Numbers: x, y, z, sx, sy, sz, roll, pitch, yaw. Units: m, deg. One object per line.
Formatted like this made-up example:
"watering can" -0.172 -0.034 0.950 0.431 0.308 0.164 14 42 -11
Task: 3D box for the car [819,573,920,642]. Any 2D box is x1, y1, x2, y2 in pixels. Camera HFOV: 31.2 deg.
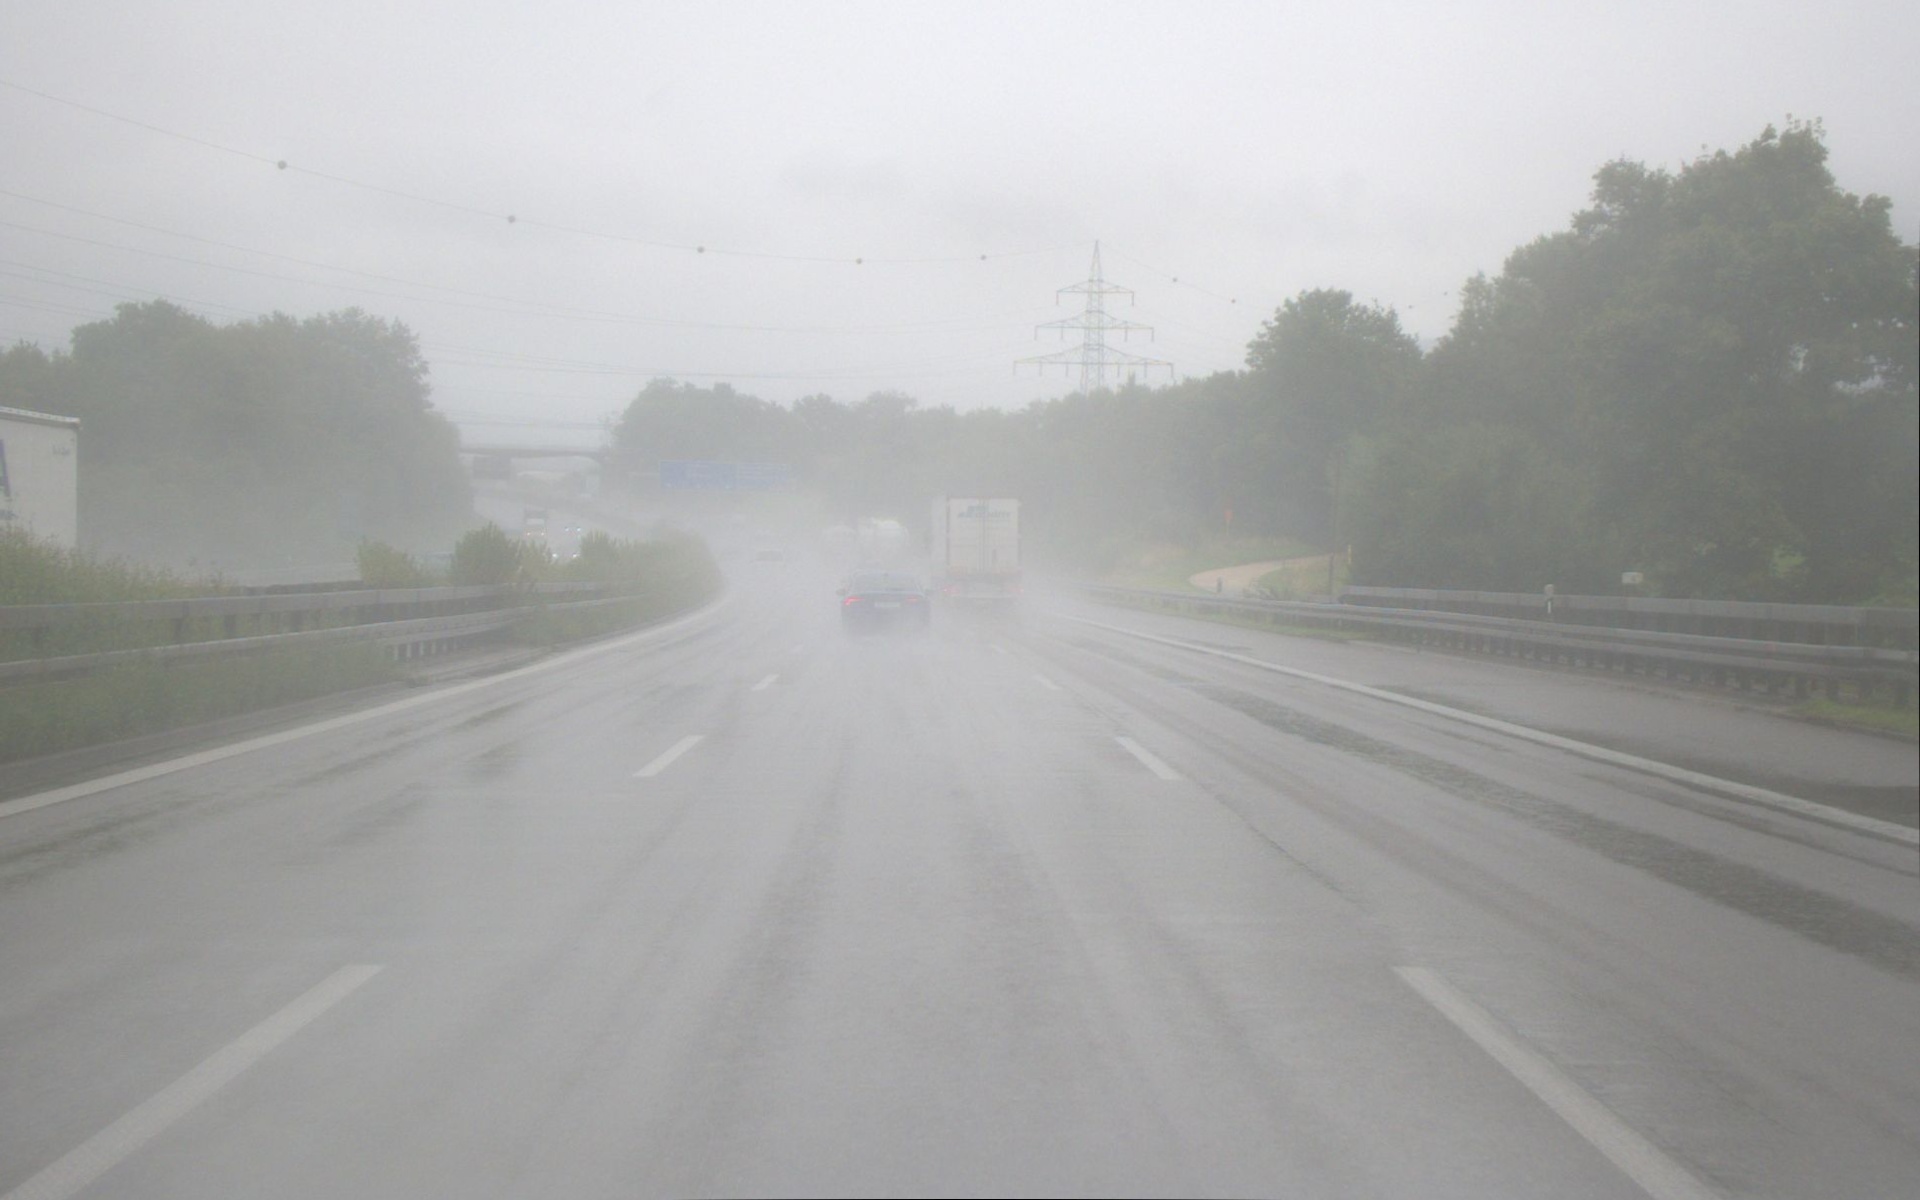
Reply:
"car" -1.790 0.123 69.056 1.749 1.208 4.000 3 1 2

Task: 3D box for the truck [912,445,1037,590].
"truck" 0.619 -3.044 126.399 4.256 4.955 17.341 0 1 1

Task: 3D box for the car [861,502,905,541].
"car" -4.838 -4.932 214.891 2.393 2.264 5.003 2 2 -5
